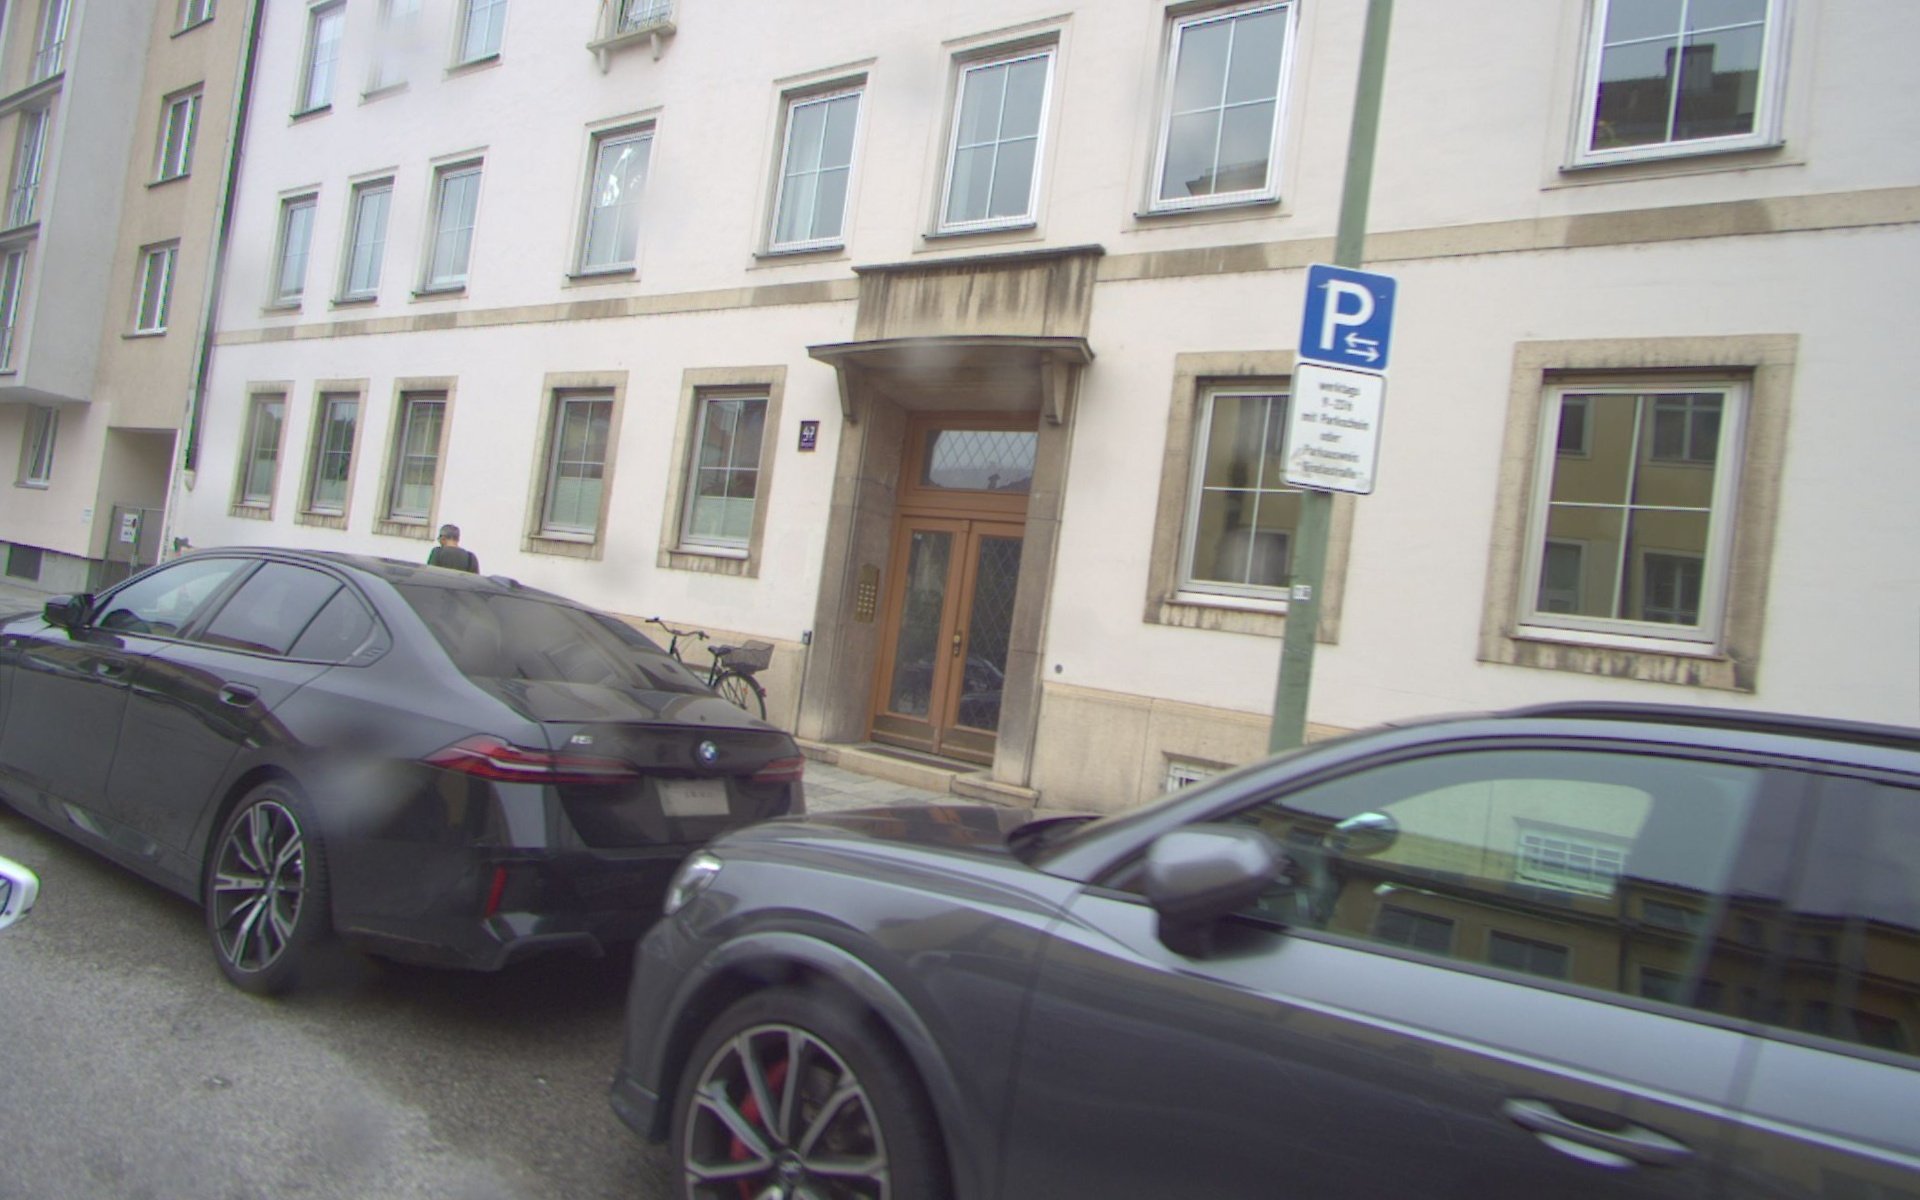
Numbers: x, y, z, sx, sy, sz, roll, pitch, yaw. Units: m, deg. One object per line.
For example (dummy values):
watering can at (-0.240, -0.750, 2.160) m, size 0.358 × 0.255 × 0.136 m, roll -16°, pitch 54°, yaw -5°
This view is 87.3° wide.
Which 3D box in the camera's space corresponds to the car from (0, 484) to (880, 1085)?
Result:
car at (-3.135, 0.454, 4.878) m, size 5.230 × 1.499 × 1.809 m, roll 7°, pitch -5°, yaw 30°

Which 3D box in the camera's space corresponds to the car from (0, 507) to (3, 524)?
car at (-11.603, -0.474, 10.379) m, size 2.833 × 1.510 × 1.656 m, roll 7°, pitch -5°, yaw 31°

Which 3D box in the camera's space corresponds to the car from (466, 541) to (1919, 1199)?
car at (1.204, 0.981, 2.119) m, size 4.557 × 1.605 × 1.651 m, roll 7°, pitch -5°, yaw 31°

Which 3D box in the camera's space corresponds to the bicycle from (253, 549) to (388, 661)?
bicycle at (-8.471, 0.041, 13.296) m, size 2.068 × 1.231 × 0.531 m, roll 7°, pitch -2°, yaw 32°

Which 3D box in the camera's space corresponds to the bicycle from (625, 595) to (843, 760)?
bicycle at (-2.149, 0.701, 9.482) m, size 1.953 × 1.236 × 0.514 m, roll 7°, pitch -1°, yaw 24°

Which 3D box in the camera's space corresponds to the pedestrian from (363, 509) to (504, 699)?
pedestrian at (-5.258, 0.045, 10.059) m, size 0.890 × 1.783 × 0.724 m, roll 4°, pitch -3°, yaw 32°

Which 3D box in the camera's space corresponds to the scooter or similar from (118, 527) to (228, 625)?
scooter or similar at (-12.151, -0.375, 15.529) m, size 1.560 × 1.374 × 0.441 m, roll 5°, pitch -2°, yaw 20°
